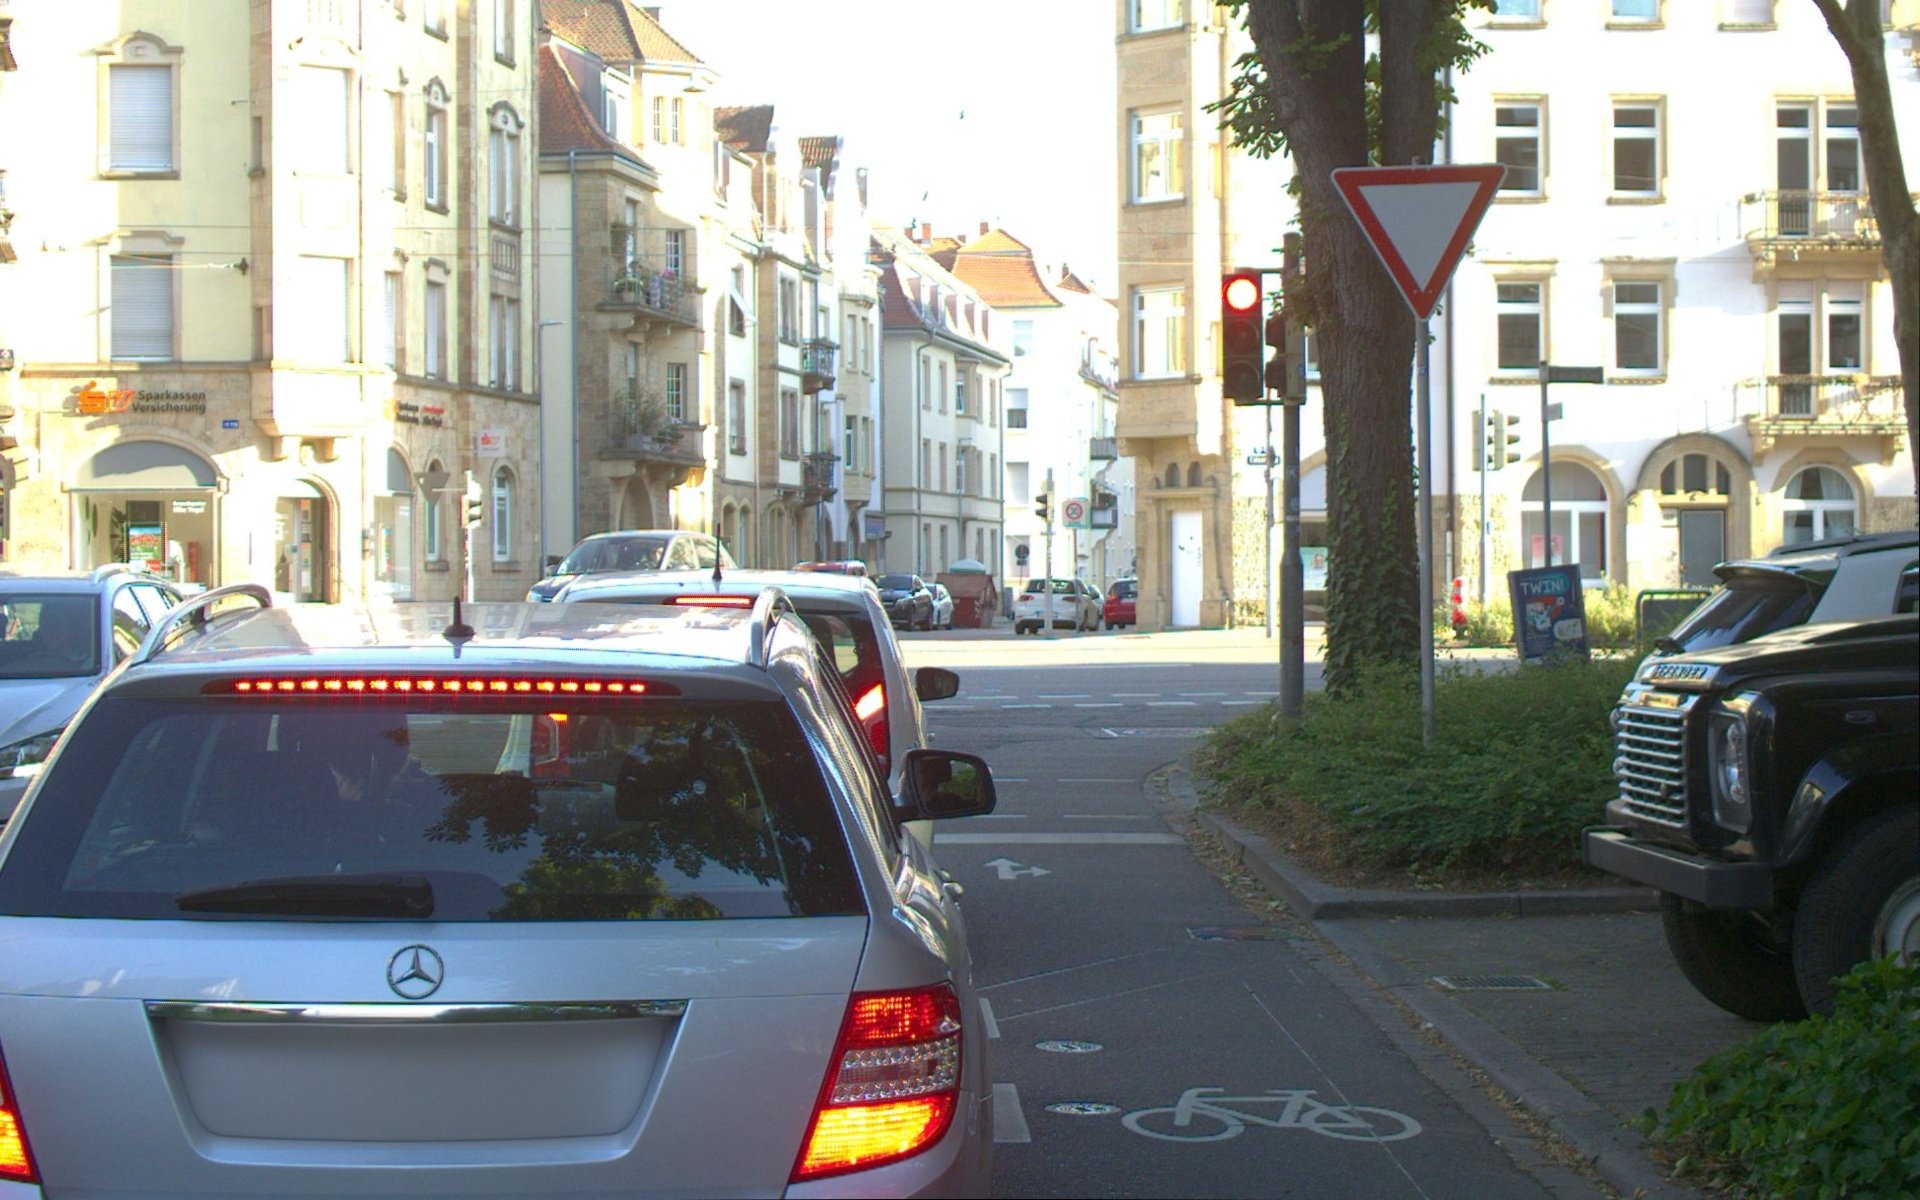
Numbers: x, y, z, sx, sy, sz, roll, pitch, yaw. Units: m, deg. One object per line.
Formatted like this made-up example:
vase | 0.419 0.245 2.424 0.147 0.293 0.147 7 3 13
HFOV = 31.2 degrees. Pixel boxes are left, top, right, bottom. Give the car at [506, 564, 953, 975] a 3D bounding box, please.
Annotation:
car | -0.863 0.568 13.674 1.533 1.386 3.600 0 1 -2

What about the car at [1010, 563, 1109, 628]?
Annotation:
car | 2.516 -0.123 85.881 1.722 1.473 3.998 -2 1 12

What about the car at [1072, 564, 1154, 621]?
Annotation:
car | 4.568 -0.228 102.077 1.722 1.473 3.998 -4 1 12

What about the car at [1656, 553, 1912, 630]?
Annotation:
car | 11.881 -0.129 49.676 3.364 1.065 1.380 0 1 -1

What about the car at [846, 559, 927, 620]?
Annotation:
car | -2.169 -0.302 102.435 1.651 1.777 3.861 0 0 11

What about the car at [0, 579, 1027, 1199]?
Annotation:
car | -0.858 0.703 6.495 1.690 1.424 3.493 1 1 -3

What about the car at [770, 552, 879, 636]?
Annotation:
car | -3.257 -0.168 83.377 1.938 1.952 4.149 0 1 8

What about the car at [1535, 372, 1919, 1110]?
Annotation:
car | 4.157 0.289 10.182 4.490 1.949 1.793 -2 1 -3

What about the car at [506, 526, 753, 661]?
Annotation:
car | -3.896 -0.116 41.072 1.617 1.496 3.589 0 2 18

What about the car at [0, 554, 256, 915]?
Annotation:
car | -4.638 0.554 16.470 1.781 1.457 4.300 -2 1 -2

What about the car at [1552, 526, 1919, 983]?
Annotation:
car | 4.217 0.497 13.129 3.480 1.580 1.711 -2 1 -6
